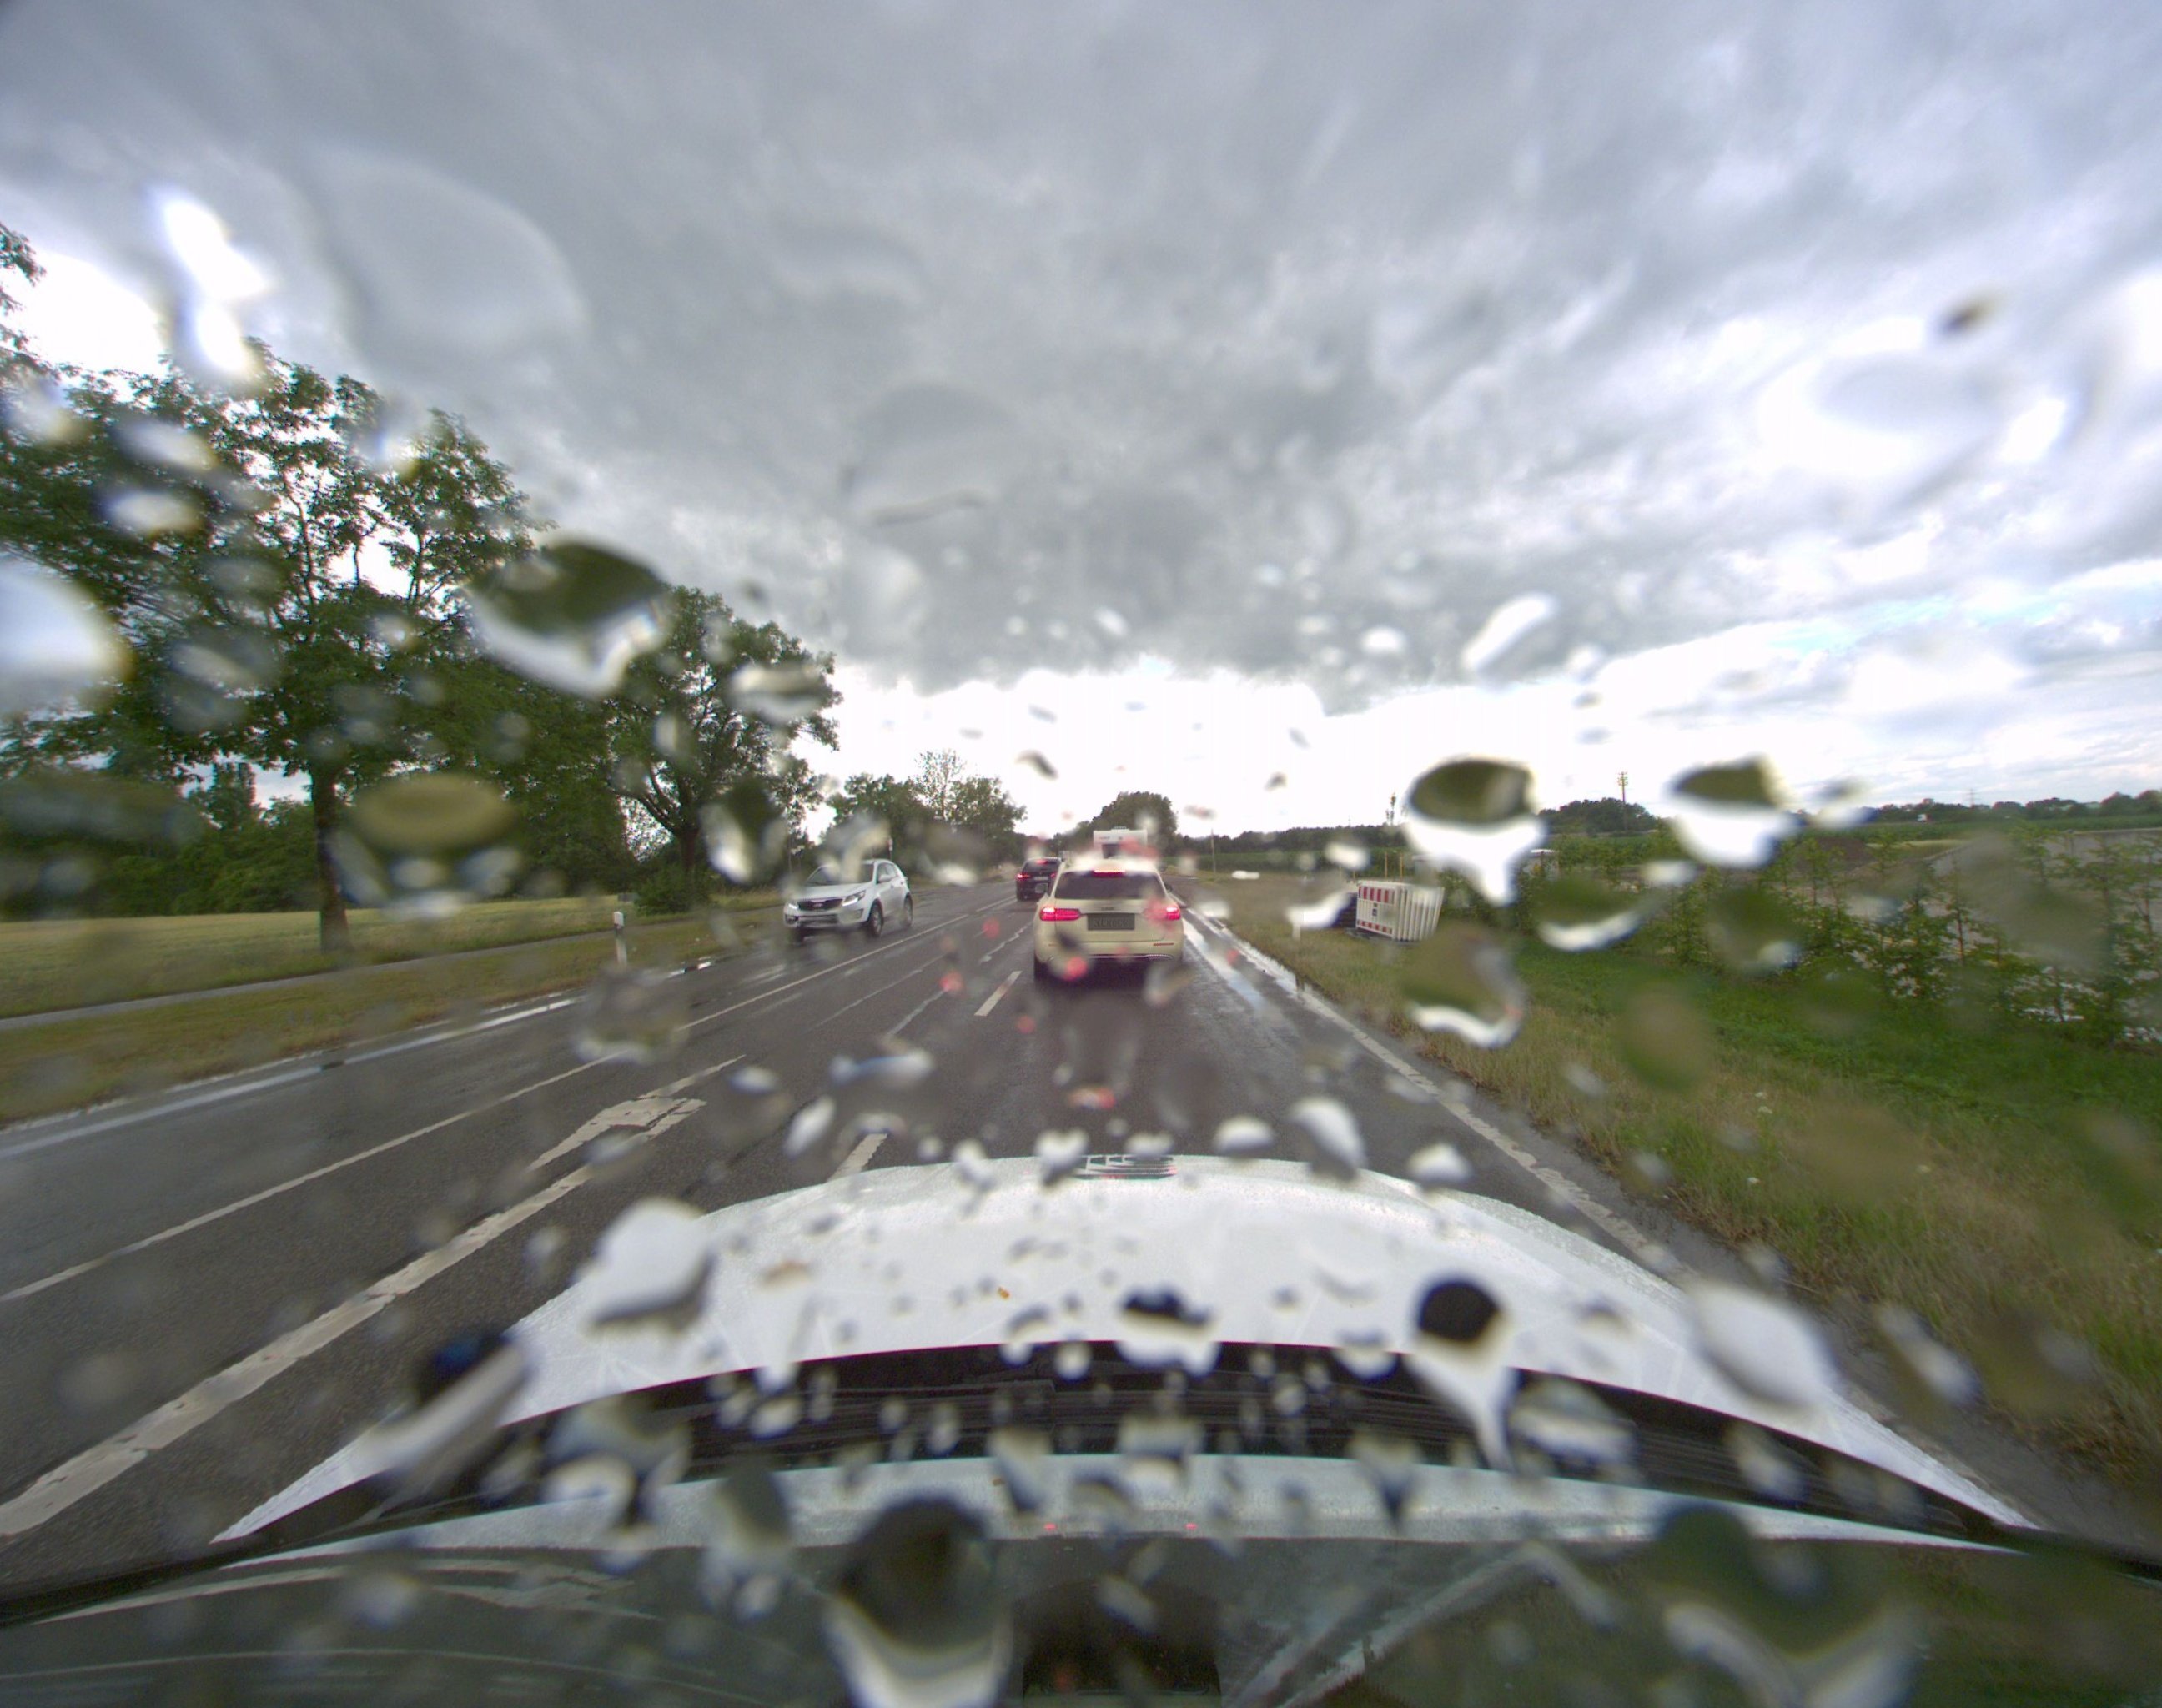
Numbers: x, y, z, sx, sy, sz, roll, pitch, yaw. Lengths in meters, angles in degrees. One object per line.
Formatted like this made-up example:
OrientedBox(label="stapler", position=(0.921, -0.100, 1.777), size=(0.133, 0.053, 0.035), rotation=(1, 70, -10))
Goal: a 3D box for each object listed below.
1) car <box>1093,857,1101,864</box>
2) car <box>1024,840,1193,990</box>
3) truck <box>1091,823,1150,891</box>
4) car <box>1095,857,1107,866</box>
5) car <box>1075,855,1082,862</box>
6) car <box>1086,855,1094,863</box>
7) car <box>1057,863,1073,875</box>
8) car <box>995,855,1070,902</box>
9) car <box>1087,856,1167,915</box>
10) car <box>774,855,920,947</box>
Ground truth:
OrientedBox(label="car", position=(3.583, 1.473, 182.136), size=(1.675, 1.550, 3.754), rotation=(0, 0, 2))
OrientedBox(label="car", position=(0.368, 0.683, 10.989), size=(1.836, 1.618, 4.002), rotation=(-1, 0, 2))
OrientedBox(label="truck", position=(1.768, 0.133, 37.535), size=(2.354, 2.729, 7.317), rotation=(-2, 0, 2))
OrientedBox(label="car", position=(3.801, 1.420, 154.766), size=(1.988, 1.772, 3.997), rotation=(-2, 0, -2))
OrientedBox(label="car", position=(-0.690, 1.419, 256.661), size=(1.888, 1.839, 3.883), rotation=(-2, 0, 2))
OrientedBox(label="car", position=(2.222, 1.372, 209.267), size=(1.890, 1.895, 3.841), rotation=(-2, 0, -1))
OrientedBox(label="car", position=(-2.036, 1.882, 105.286), size=(1.713, 1.404, 4.044), rotation=(-4, 0, 1))
OrientedBox(label="car", position=(-1.673, 0.845, 29.754), size=(2.293, 1.547, 4.634), rotation=(0, 0, 2))
OrientedBox(label="car", position=(1.215, 0.799, 22.384), size=(1.986, 1.462, 4.002), rotation=(0, 0, 2))
OrientedBox(label="car", position=(-4.956, 0.910, 17.884), size=(1.697, 1.671, 4.159), rotation=(-4, 0, 3))
